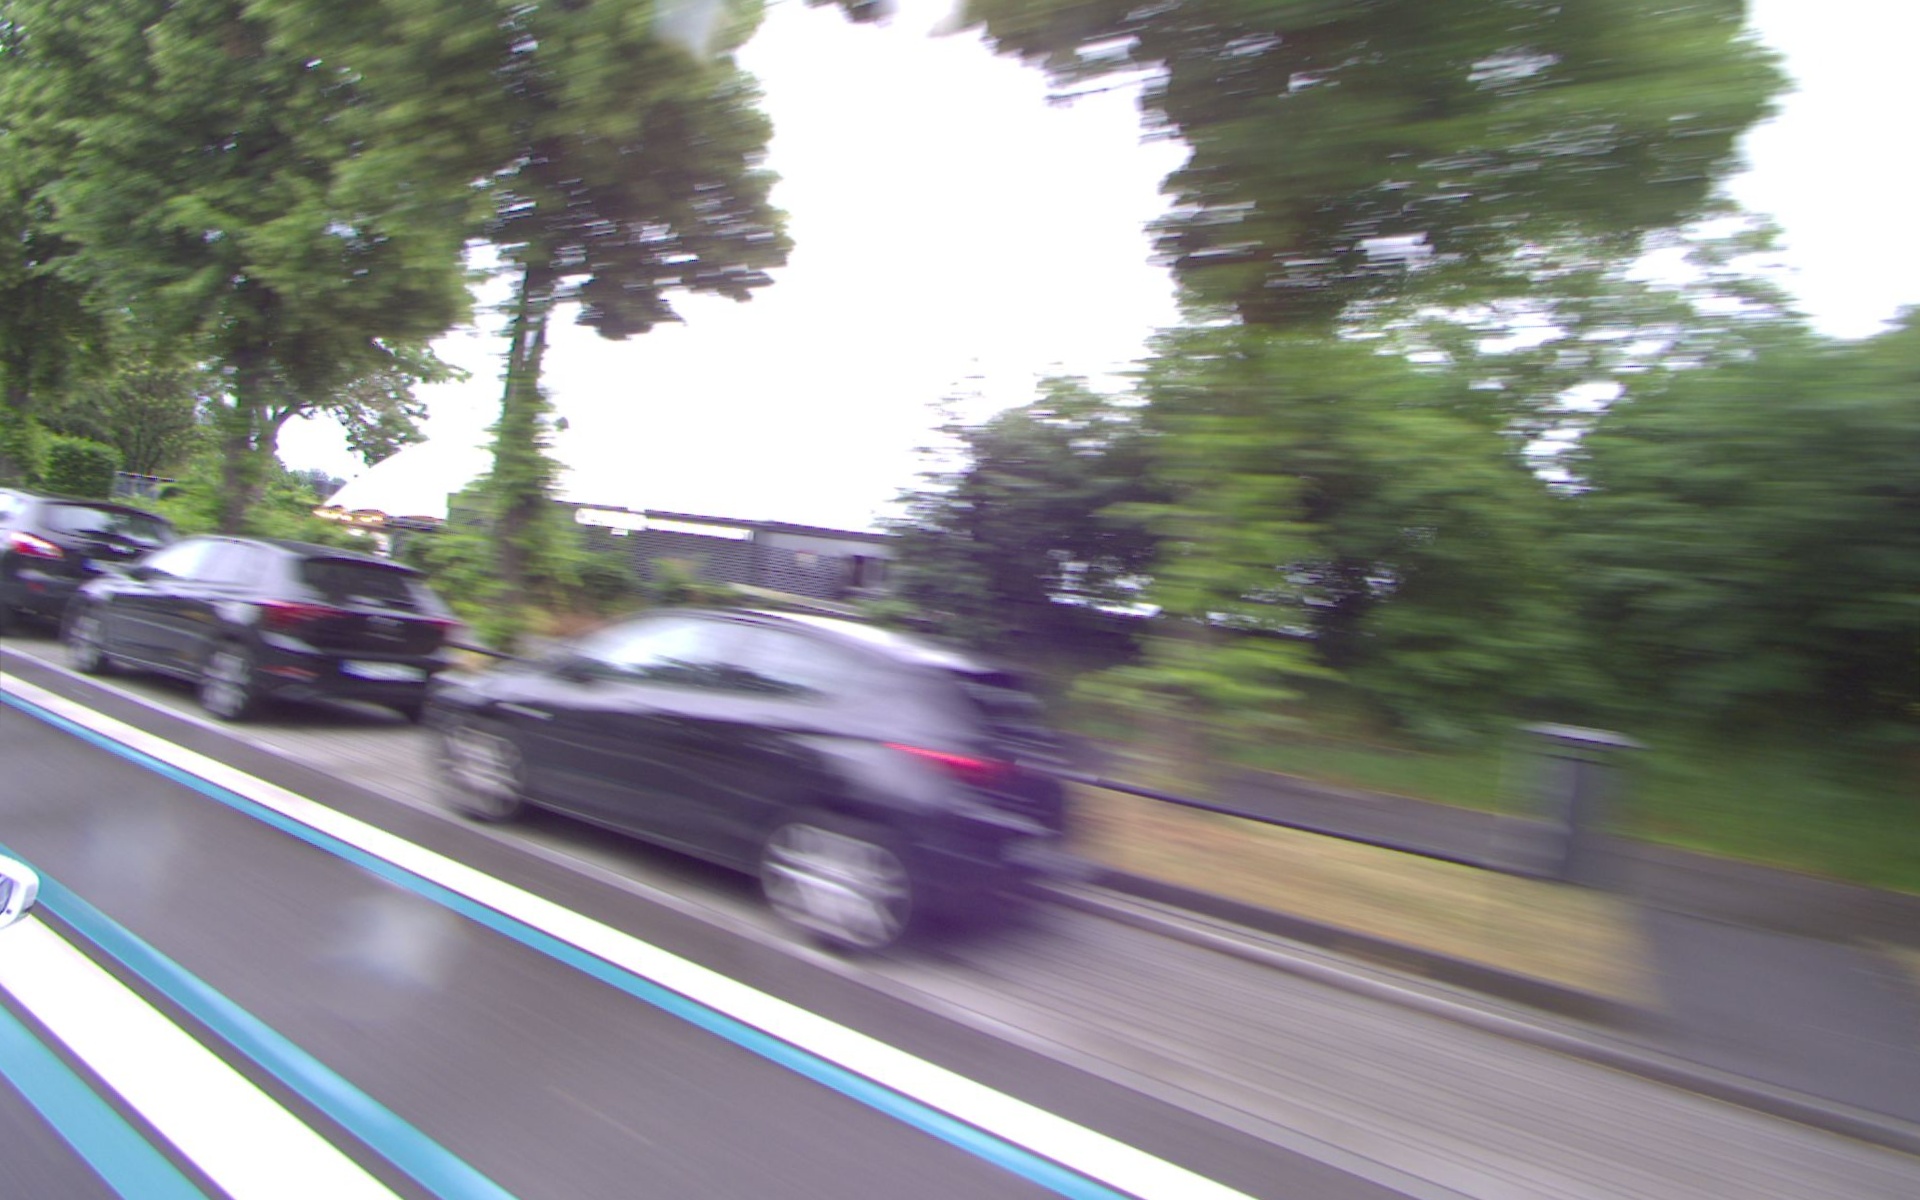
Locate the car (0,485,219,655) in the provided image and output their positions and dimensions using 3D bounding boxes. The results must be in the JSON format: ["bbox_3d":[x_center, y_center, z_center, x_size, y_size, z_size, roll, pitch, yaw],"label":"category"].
[{"bbox_3d":[-10.895,-0.458,11.955,4.084,1.601,1.735,7,-2,30],"label":"car"}]

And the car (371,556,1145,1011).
[{"bbox_3d":[-1.293,0.782,5.878,4.204,1.480,1.735,7,-1,30],"label":"car"}]

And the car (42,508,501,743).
[{"bbox_3d":[-6.250,0.172,9.054,4.003,1.480,1.735,7,-1,30],"label":"car"}]
